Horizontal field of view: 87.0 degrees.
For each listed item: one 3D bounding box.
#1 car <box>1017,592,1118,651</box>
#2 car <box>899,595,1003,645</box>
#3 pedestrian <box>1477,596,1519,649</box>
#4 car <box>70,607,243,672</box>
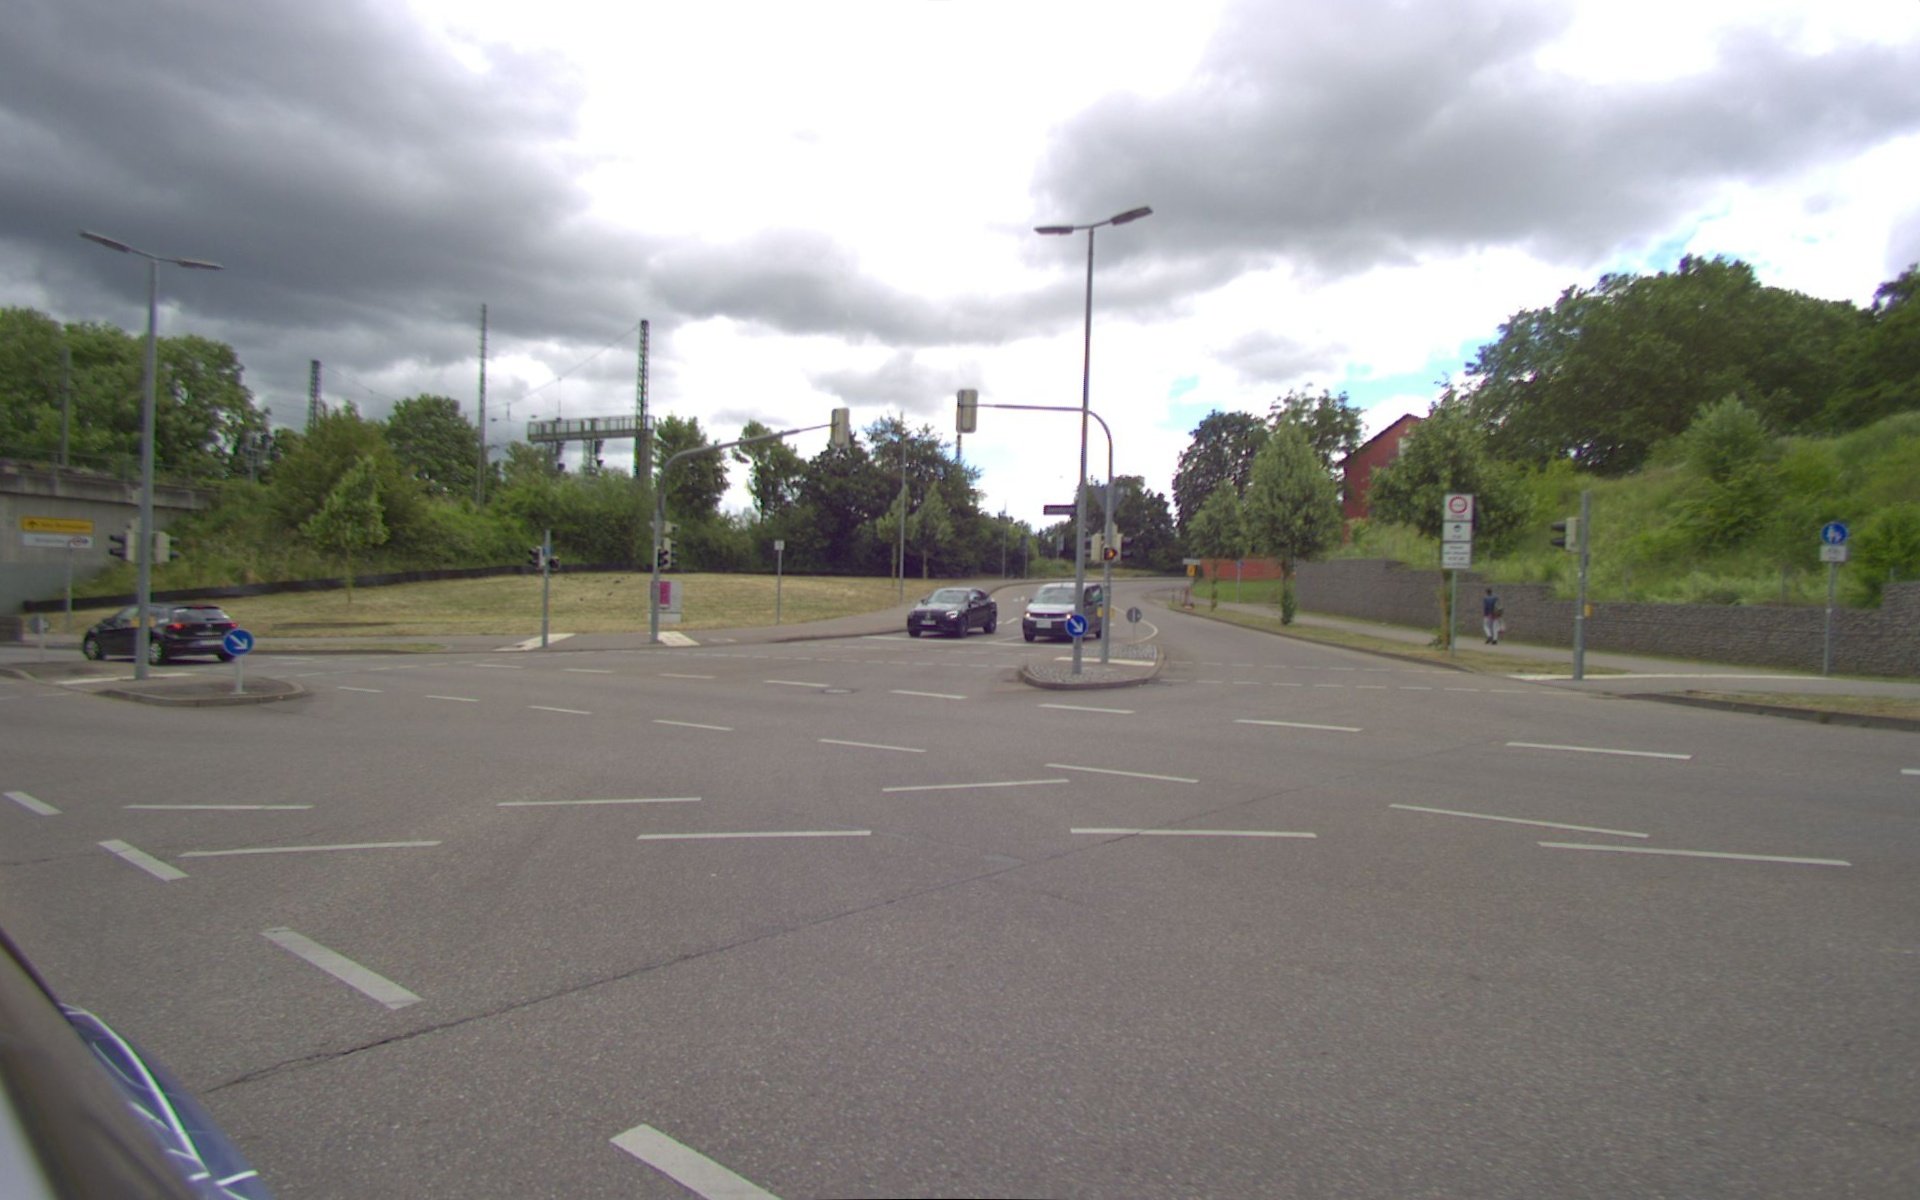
[{"bbox_3d":[3.465,0.611,31.887,1.752,1.741,4.223,0,0,28],"label":"car"},{"bbox_3d":[-0.230,0.618,33.826,2.095,1.563,4.233,0,0,21],"label":"car"},{"bbox_3d":[16.144,0.661,30.380,0.791,1.569,0.900,0,0,3],"label":"pedestrian"},{"bbox_3d":[-19.596,0.940,24.659,4.046,1.466,1.745,-1,0,26],"label":"car"}]
